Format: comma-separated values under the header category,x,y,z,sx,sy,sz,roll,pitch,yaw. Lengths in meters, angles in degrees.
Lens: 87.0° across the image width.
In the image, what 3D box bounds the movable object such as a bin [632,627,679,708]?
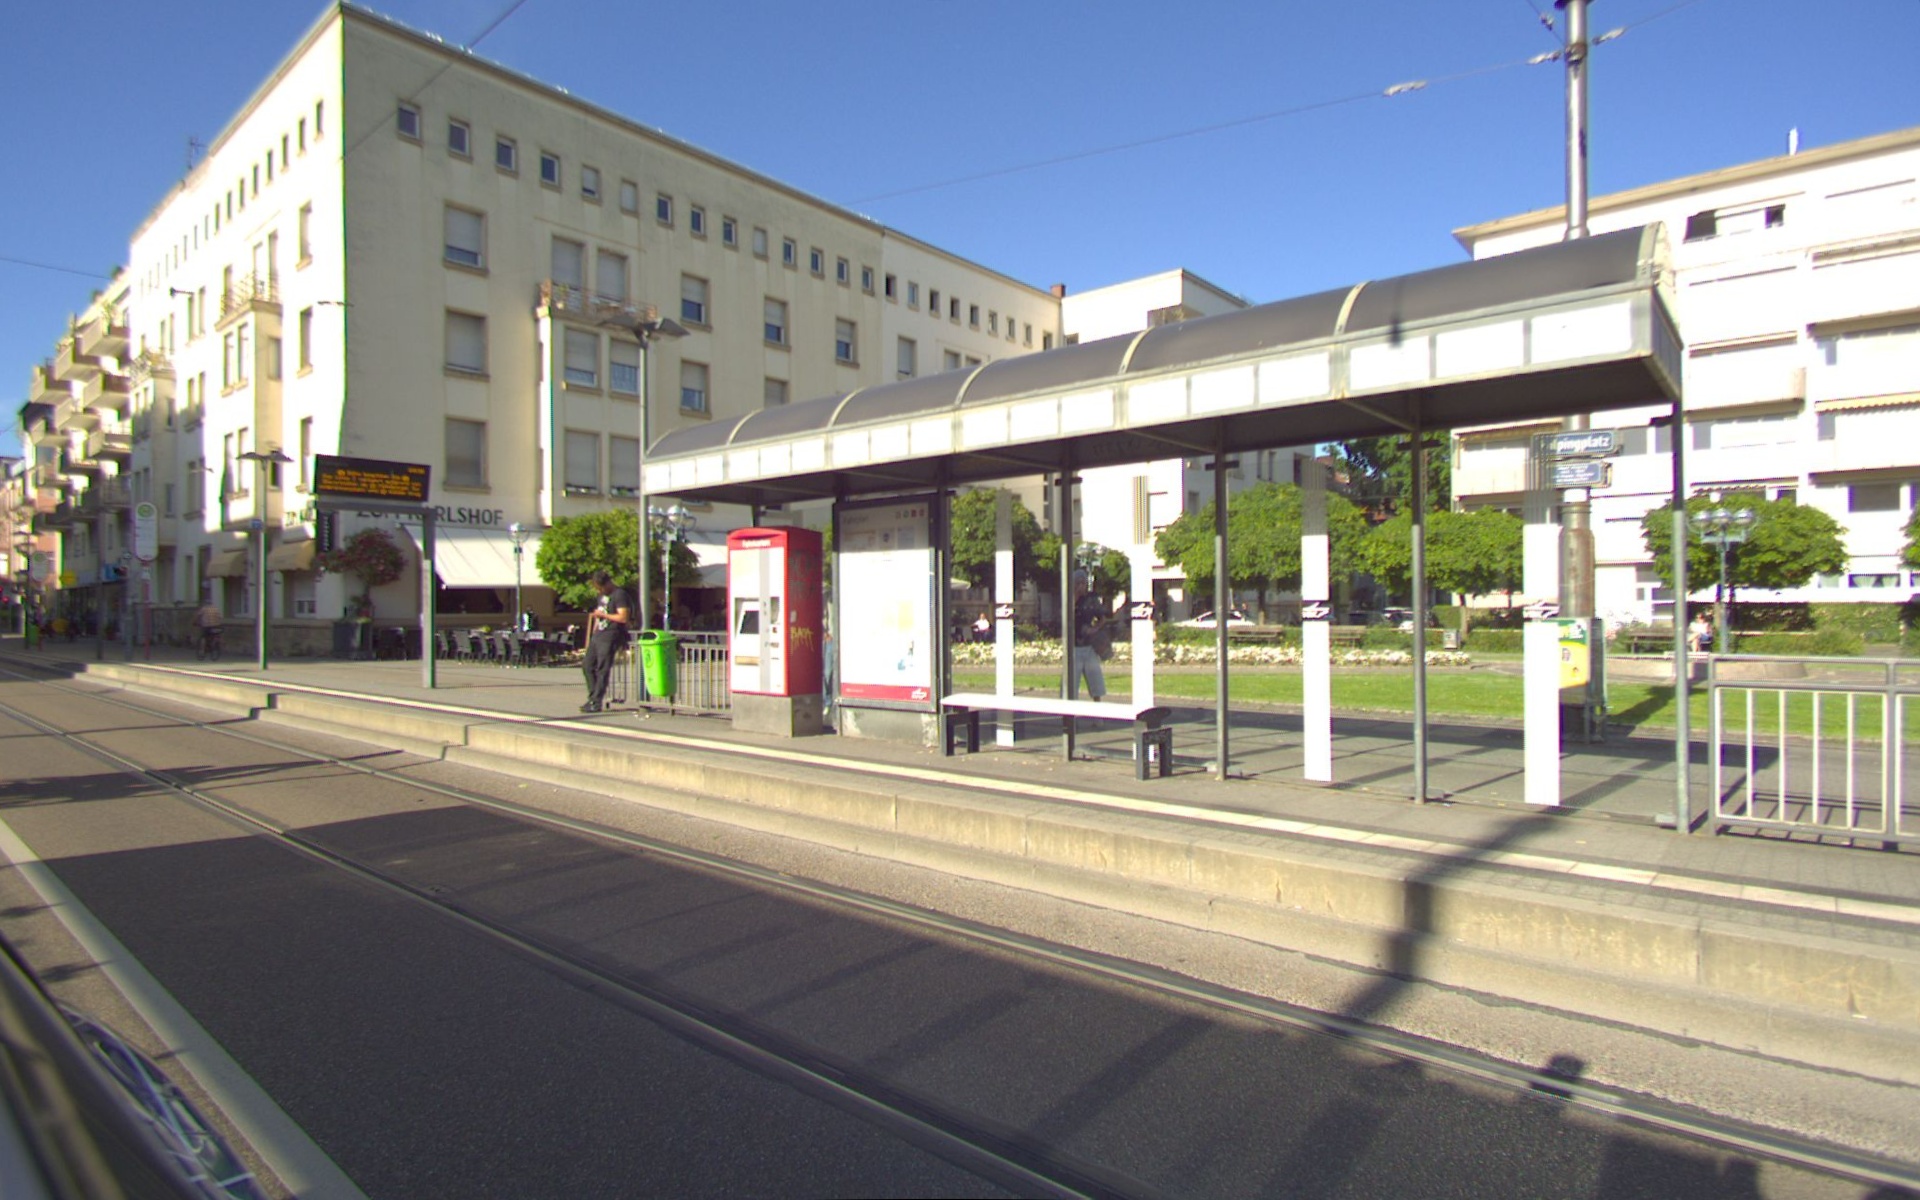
category,x,y,z,sx,sy,sz,roll,pitch,yaw
movable object such as a bin,-3.356,0.734,11.151,0.416,0.866,0.332,-1,-1,44

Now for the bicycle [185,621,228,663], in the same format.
category,x,y,z,sx,sy,sz,roll,pitch,yaw
bicycle,-21.297,1.175,28.599,0.719,1.121,1.978,0,0,-44

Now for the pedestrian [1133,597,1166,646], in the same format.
category,x,y,z,sx,sy,sz,roll,pitch,yaw
pedestrian,7.152,0.795,38.215,1.067,1.801,1.176,0,-1,3

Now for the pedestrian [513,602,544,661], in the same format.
category,x,y,z,sx,sy,sz,roll,pitch,yaw
pedestrian,-12.347,0.910,28.963,0.663,1.657,0.678,-1,-4,-9

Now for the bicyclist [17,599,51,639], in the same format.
category,x,y,z,sx,sy,sz,roll,pitch,yaw
bicyclist,-42.595,0.870,46.543,1.094,1.807,0.994,-1,-1,37

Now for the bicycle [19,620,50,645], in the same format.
category,x,y,z,sx,sy,sz,roll,pitch,yaw
bicycle,-42.634,1.489,46.614,2.032,1.134,0.705,-1,-1,37

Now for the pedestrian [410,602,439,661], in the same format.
category,x,y,z,sx,sy,sz,roll,pitch,yaw
pedestrian,-15.330,0.916,28.985,0.662,1.657,0.753,0,-4,-22

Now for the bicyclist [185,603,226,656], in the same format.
category,x,y,z,sx,sy,sz,roll,pitch,yaw
bicyclist,-21.349,0.826,28.641,0.818,1.466,0.878,-1,0,-44

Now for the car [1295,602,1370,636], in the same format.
category,x,y,z,sx,sy,sz,roll,pitch,yaw
car,17.118,0.876,46.543,2.932,1.497,1.399,-1,-1,41

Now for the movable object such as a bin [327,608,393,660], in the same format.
category,x,y,z,sx,sy,sz,roll,pitch,yaw
movable object such as a bin,-16.834,0.935,28.404,1.127,1.410,1.302,-1,-1,40

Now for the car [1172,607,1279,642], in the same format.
category,x,y,z,sx,sy,sz,roll,pitch,yaw
car,10.709,0.968,40.868,3.713,1.310,1.973,-1,-1,41

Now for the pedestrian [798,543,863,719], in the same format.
category,x,y,z,sx,sy,sz,roll,pitch,yaw
pedestrian,-1.423,0.342,11.106,0.526,1.873,0.423,-1,-4,44

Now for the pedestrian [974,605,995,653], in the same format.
category,x,y,z,sx,sy,sz,roll,pitch,yaw
pedestrian,0.919,1.106,38.169,0.710,1.750,0.673,-2,-4,1

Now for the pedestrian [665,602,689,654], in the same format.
category,x,y,z,sx,sy,sz,roll,pitch,yaw
pedestrian,-10.124,0.997,36.207,0.641,1.837,0.576,0,-1,5

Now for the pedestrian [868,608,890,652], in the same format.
category,x,y,z,sx,sy,sz,roll,pitch,yaw
pedestrian,-3.271,1.231,40.889,0.677,1.750,0.671,-3,-4,14

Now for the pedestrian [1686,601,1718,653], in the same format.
category,x,y,z,sx,sy,sz,roll,pitch,yaw
pedestrian,20.132,0.716,27.459,0.678,1.370,1.039,-1,-1,36

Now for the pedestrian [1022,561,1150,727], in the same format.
category,x,y,z,sx,sy,sz,roll,pitch,yaw
pedestrian,1.357,0.457,10.991,0.979,1.693,0.977,1,-2,-34

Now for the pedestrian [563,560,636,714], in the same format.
category,x,y,z,sx,sy,sz,roll,pitch,yaw
pedestrian,-4.185,0.425,11.750,0.607,1.731,0.542,-1,-3,43

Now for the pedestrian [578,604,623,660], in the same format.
category,x,y,z,sx,sy,sz,roll,pitch,yaw
pedestrian,-11.009,0.984,30.995,0.755,1.657,1.054,-4,-4,36
